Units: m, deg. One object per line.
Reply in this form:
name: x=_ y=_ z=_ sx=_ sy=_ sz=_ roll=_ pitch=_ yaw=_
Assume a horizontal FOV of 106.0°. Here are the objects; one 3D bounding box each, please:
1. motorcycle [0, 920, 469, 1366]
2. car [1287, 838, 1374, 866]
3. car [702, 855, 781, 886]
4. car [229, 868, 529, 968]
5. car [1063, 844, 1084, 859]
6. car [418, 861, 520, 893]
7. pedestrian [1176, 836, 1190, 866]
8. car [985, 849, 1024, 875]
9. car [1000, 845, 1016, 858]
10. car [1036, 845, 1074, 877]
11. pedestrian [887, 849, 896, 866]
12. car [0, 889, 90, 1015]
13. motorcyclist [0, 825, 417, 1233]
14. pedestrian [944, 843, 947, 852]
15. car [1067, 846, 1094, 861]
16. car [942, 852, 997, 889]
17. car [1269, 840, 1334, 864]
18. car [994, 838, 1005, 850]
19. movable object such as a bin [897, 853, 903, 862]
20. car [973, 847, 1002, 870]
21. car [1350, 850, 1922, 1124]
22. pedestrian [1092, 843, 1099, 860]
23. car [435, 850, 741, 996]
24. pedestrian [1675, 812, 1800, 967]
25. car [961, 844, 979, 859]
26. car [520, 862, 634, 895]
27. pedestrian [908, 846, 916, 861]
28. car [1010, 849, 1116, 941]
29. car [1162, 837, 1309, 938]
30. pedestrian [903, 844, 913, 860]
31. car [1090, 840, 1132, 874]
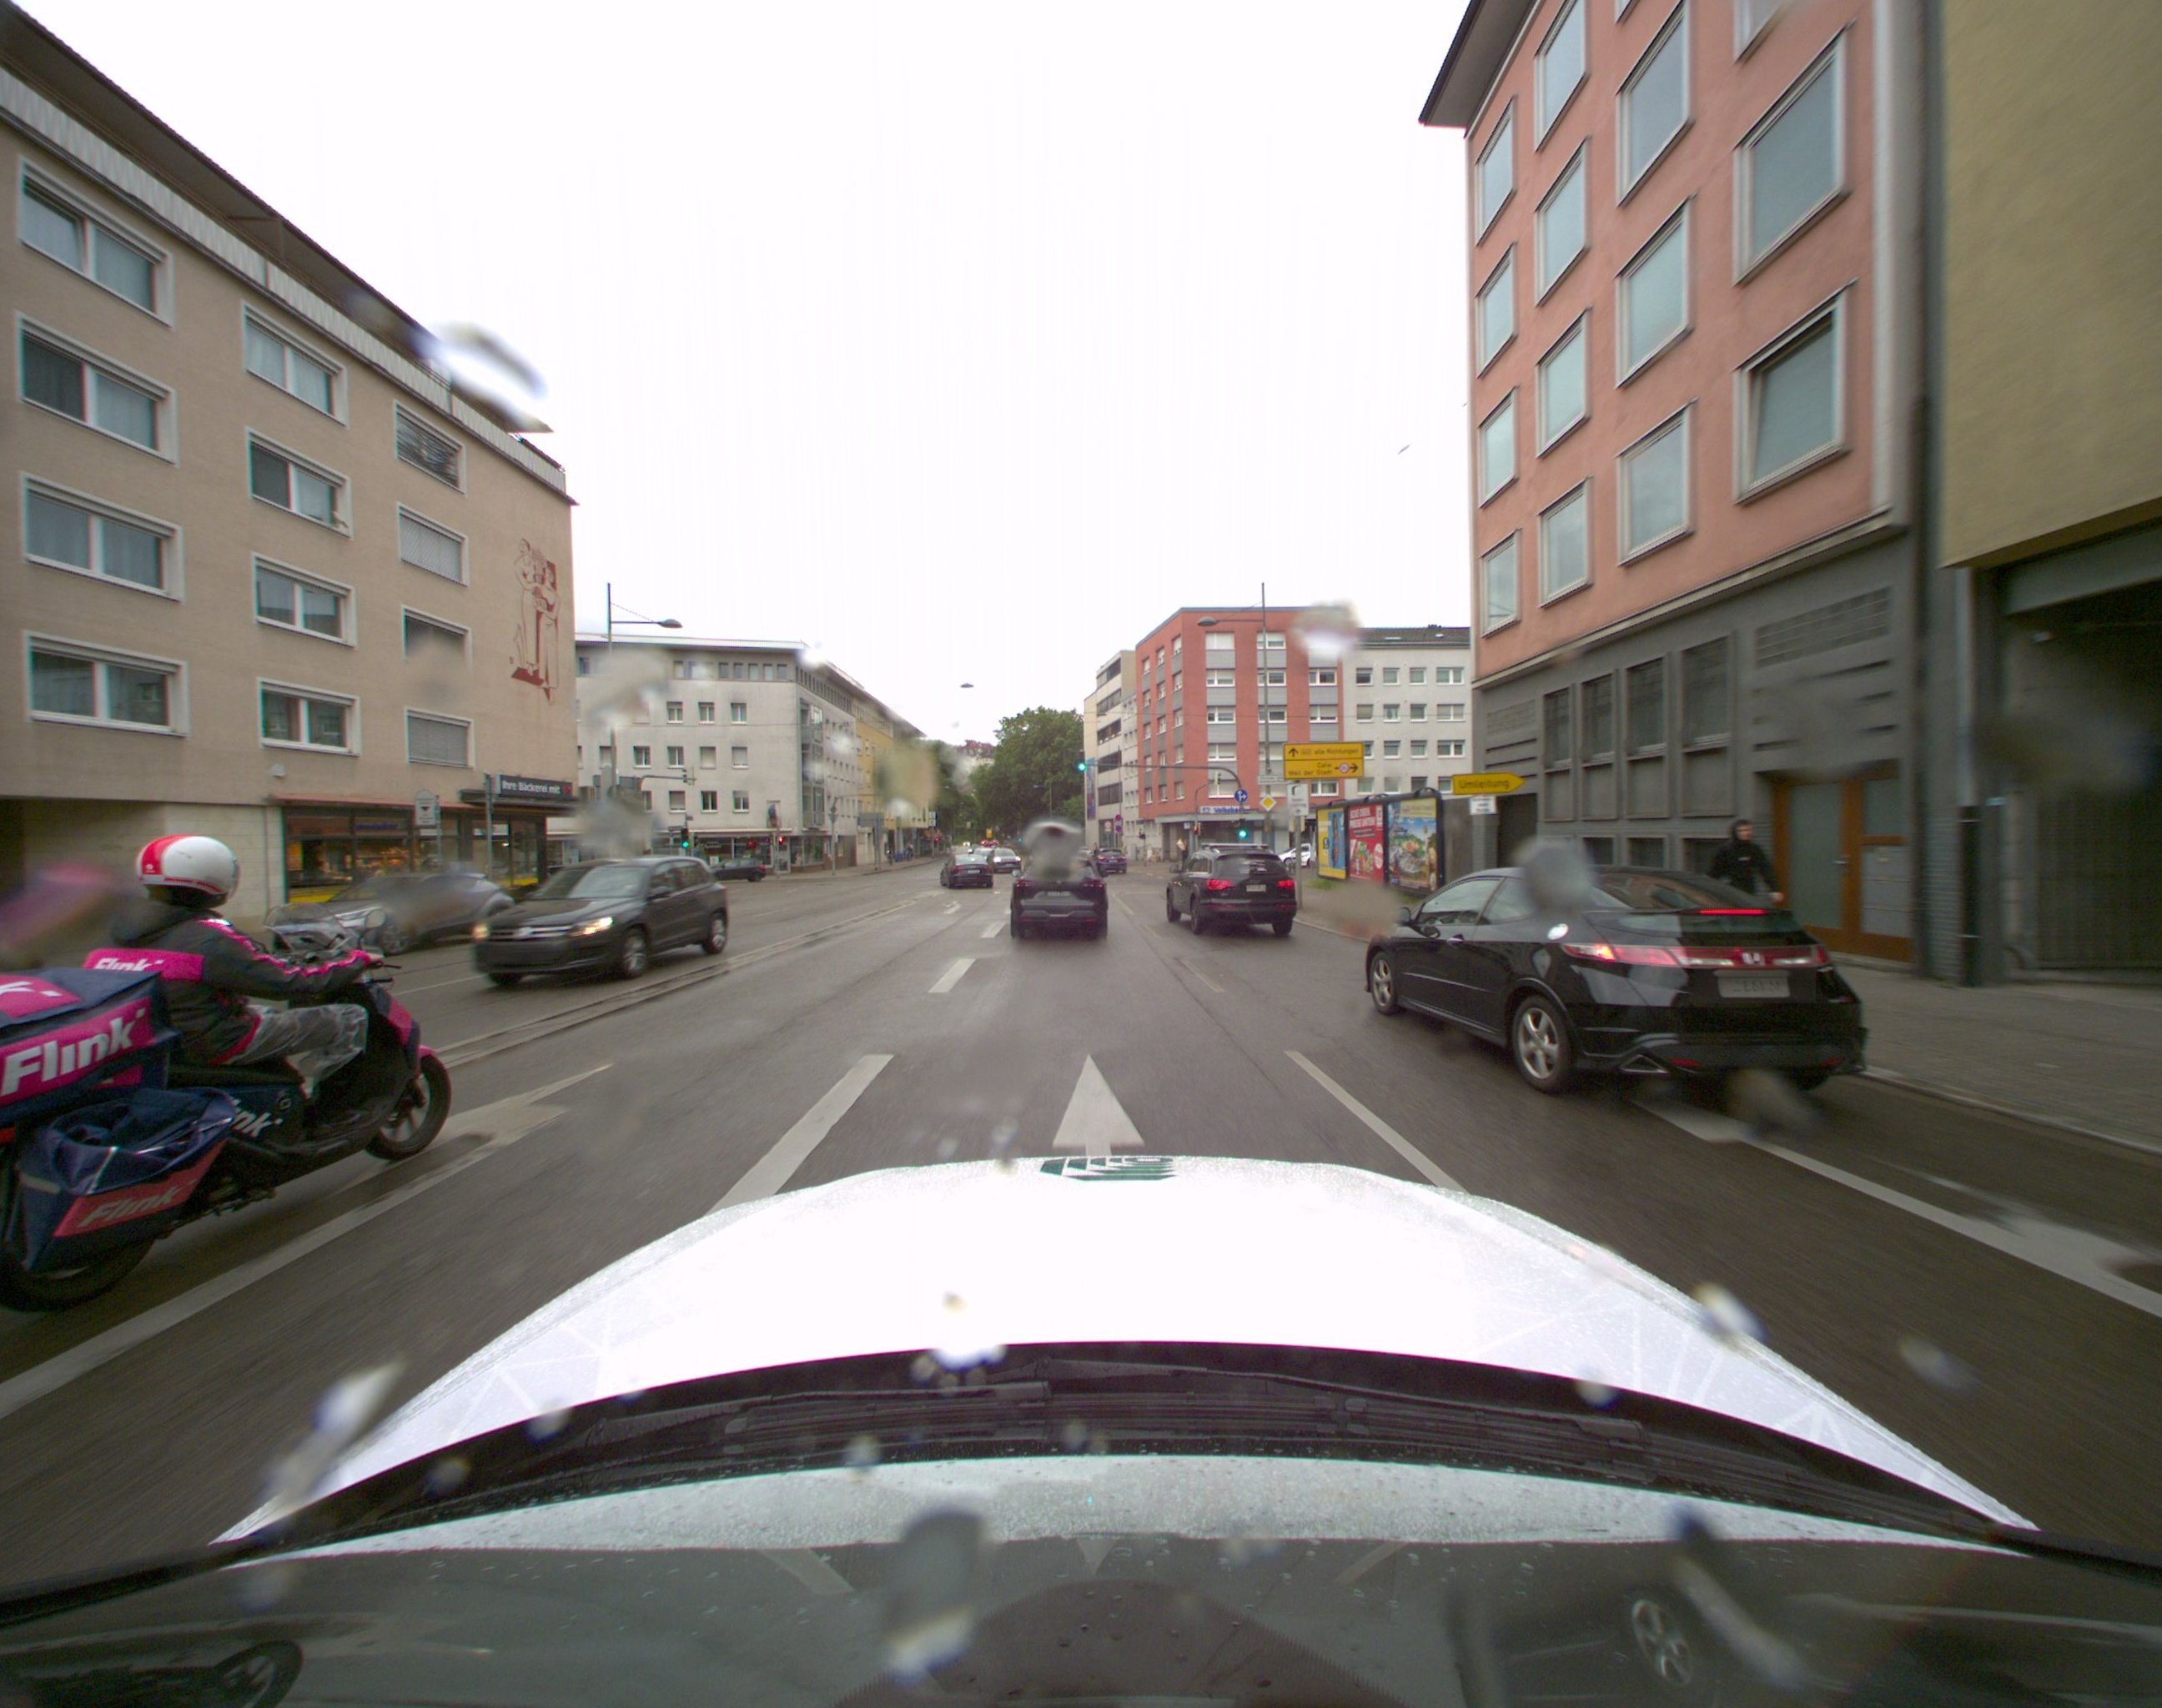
motorcycle: x=-3.662 y=0.973 z=3.507 sx=0.586 sy=1.191 sz=2.099 roll=-1 pitch=0 yaw=-4
car: x=14.971 y=-0.127 z=49.022 sx=4.642 sy=1.486 sz=1.917 roll=-2 pitch=1 yaw=-5
car: x=-20.402 y=0.988 z=49.030 sx=4.022 sy=1.626 sz=1.677 roll=-3 pitch=0 yaw=-42
car: x=-13.713 y=1.155 z=16.404 sx=1.901 sy=1.554 sz=4.631 roll=-2 pitch=0 yaw=1
car: x=-0.869 y=-0.250 z=86.850 sx=1.713 sy=1.442 sz=4.071 roll=-3 pitch=1 yaw=-8
car: x=-36.268 y=1.328 z=48.407 sx=4.333 sy=1.631 sz=2.036 roll=-2 pitch=1 yaw=-15
pedestrian: x=7.357 y=-0.245 z=58.847 sx=0.823 sy=2.158 sz=0.769 roll=1 pitch=1 yaw=-3
car: x=-4.961 y=0.462 z=52.378 sx=1.859 sy=1.553 sz=4.205 roll=-2 pitch=1 yaw=-15
car: x=-9.558 y=-0.344 z=106.372 sx=1.820 sy=1.612 sz=3.855 roll=1 pitch=1 yaw=-8
car: x=-1.551 y=0.357 z=47.072 sx=1.942 sy=1.684 sz=3.995 roll=-3 pitch=0 yaw=-4
pedestrian: x=-17.741 y=0.313 z=76.147 sx=0.685 sy=1.581 sz=0.651 roll=1 pitch=1 yaw=-1
car: x=-13.955 y=1.248 z=8.413 sx=1.989 sy=1.477 sz=4.513 roll=-2 pitch=0 yaw=-4
motorcyclist: x=-3.663 y=0.646 z=3.480 sx=0.913 sy=1.493 sz=0.863 roll=-1 pitch=0 yaw=-5
pedestrian: x=-26.602 y=-1.225 z=159.856 sx=0.668 sy=1.791 sz=0.718 roll=0 pitch=1 yaw=-15
car: x=-0.099 y=-0.073 z=80.403 sx=1.775 sy=1.401 sz=4.563 roll=-3 pitch=1 yaw=-11
car: x=-4.934 y=0.669 z=35.499 sx=1.996 sy=1.388 sz=4.480 roll=0 pitch=1 yaw=-13
car: x=15.103 y=-0.152 z=55.861 sx=3.937 sy=1.486 sz=1.701 roll=-2 pitch=1 yaw=-3
car: x=-13.010 y=-1.586 z=130.133 sx=1.819 sy=1.796 sz=3.858 roll=1 pitch=1 yaw=-6
movable object such as a bin: x=-19.409 y=0.341 z=87.336 sx=0.453 sy=0.929 sz=0.502 roll=-1 pitch=1 yaw=-2
car: x=-6.700 y=0.307 z=57.892 sx=1.933 sy=1.527 sz=4.123 roll=-2 pitch=0 yaw=-8
car: x=3.745 y=0.756 z=6.533 sx=1.778 sy=1.497 sz=4.054 roll=0 pitch=-1 yaw=-1
pedestrian: x=1.585 y=-0.271 z=89.173 sx=0.613 sy=1.737 sz=0.677 roll=-3 pitch=1 yaw=-16
car: x=-6.754 y=0.806 z=11.831 sx=1.857 sy=1.647 sz=4.251 roll=-3 pitch=0 yaw=-1
pedestrian: x=7.999 y=0.404 z=9.977 sx=0.670 sy=1.787 sz=1.096 roll=-1 pitch=1 yaw=2
car: x=-14.906 y=-0.380 z=109.619 sx=1.989 sy=1.859 sz=3.996 roll=1 pitch=1 yaw=-3
car: x=-25.008 y=1.201 z=40.558 sx=4.326 sy=1.376 sz=2.040 roll=-1 pitch=2 yaw=-10
pedestrian: x=-19.303 y=-0.094 z=92.973 sx=0.798 sy=1.688 sz=0.815 roll=-1 pitch=1 yaw=-9
car: x=-0.419 y=0.729 z=16.516 sx=1.890 sy=1.629 sz=3.995 roll=0 pitch=0 yaw=-3
car: x=3.120 y=0.617 z=17.547 sx=2.017 sy=1.869 sz=4.894 roll=0 pitch=0 yaw=-3
pedestrian: x=-19.300 y=-0.188 z=90.955 sx=0.863 sy=1.788 sz=0.874 roll=1 pitch=0 yaw=-3
car: x=1.745 y=0.175 z=48.599 sx=1.942 sy=1.816 sz=3.994 roll=-3 pitch=0 yaw=-5
